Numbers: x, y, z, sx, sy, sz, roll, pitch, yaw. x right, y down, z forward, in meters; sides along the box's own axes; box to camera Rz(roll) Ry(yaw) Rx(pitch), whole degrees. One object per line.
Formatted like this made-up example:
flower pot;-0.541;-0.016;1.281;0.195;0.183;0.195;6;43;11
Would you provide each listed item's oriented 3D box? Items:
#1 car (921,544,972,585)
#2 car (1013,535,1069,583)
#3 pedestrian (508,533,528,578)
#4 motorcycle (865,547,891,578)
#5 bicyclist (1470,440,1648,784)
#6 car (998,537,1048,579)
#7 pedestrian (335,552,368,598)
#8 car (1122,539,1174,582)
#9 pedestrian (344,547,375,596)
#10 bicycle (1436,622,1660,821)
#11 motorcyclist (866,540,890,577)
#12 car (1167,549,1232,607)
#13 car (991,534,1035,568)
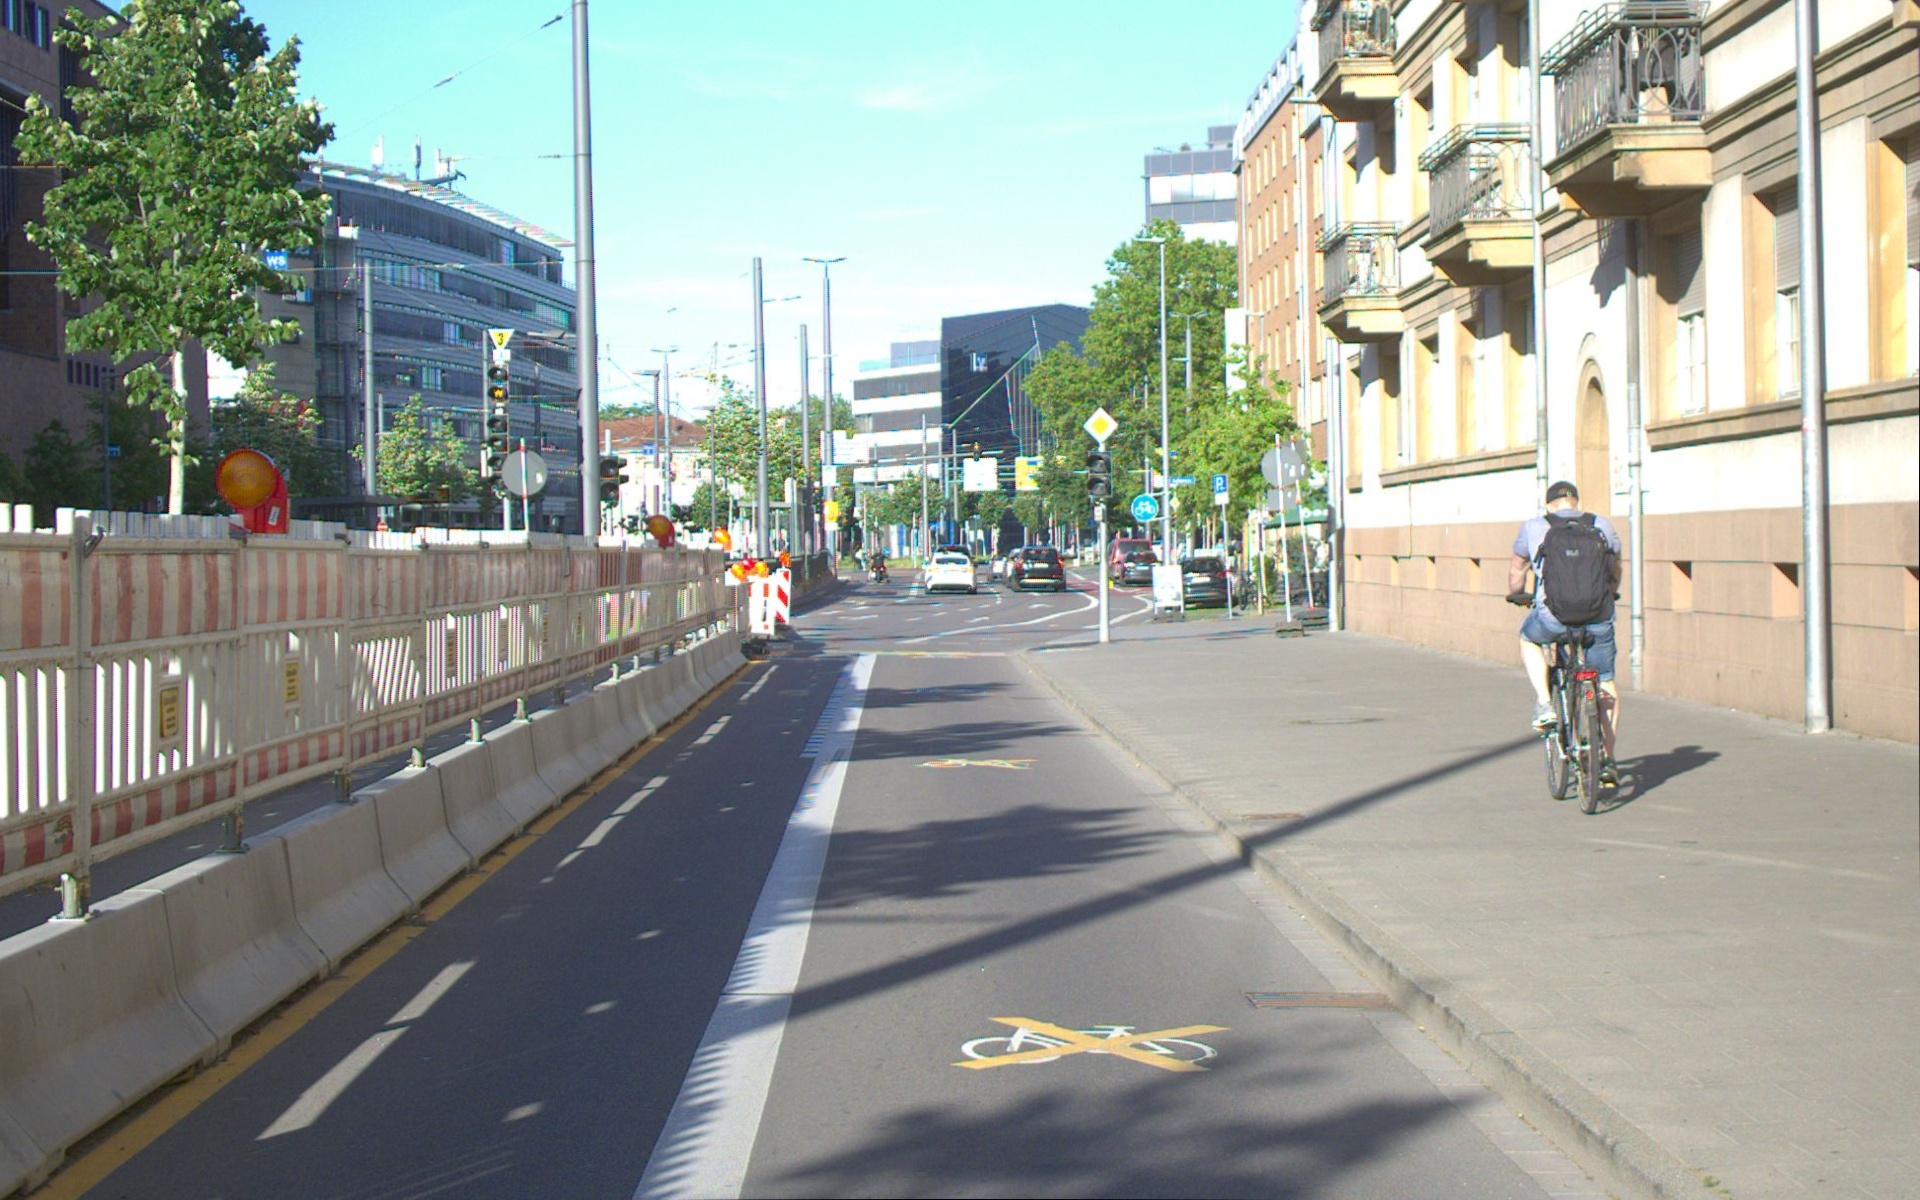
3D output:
car;-0.506;-1.313;125.205;1.780;1.409;4.819;1;1;-1
car;3.075;-1.564;130.795;1.975;1.753;4.633;1;1;0
pedestrian;-16.710;-1.696;129.907;0.640;1.690;0.541;1;1;0
motorcycle;-3.592;-1.652;150.844;1.019;1.307;2.915;1;1;0
bicyclist;3.144;0.055;18.108;0.733;1.757;0.938;-1;1;-1
car;2.537;-1.677;138.586;1.851;1.634;4.379;1;0;-1
pedestrian;-16.167;-0.669;91.346;0.721;1.164;0.721;-3;1;0
car;7.786;-1.647;142.762;1.846;1.555;4.633;1;3;0
pedestrian;-16.306;-0.777;93.351;0.646;1.304;0.721;-3;1;0
bicycle;3.129;0.623;18.495;0.767;0.950;2.198;-1;1;-1
motorcyclist;-3.594;-1.827;150.915;1.019;1.598;1.148;1;1;0
car;7.103;-0.668;101.723;1.721;1.631;4.230;-1;1;6
car;2.371;-2.208;155.512;1.851;1.492;4.379;-1;1;-1
